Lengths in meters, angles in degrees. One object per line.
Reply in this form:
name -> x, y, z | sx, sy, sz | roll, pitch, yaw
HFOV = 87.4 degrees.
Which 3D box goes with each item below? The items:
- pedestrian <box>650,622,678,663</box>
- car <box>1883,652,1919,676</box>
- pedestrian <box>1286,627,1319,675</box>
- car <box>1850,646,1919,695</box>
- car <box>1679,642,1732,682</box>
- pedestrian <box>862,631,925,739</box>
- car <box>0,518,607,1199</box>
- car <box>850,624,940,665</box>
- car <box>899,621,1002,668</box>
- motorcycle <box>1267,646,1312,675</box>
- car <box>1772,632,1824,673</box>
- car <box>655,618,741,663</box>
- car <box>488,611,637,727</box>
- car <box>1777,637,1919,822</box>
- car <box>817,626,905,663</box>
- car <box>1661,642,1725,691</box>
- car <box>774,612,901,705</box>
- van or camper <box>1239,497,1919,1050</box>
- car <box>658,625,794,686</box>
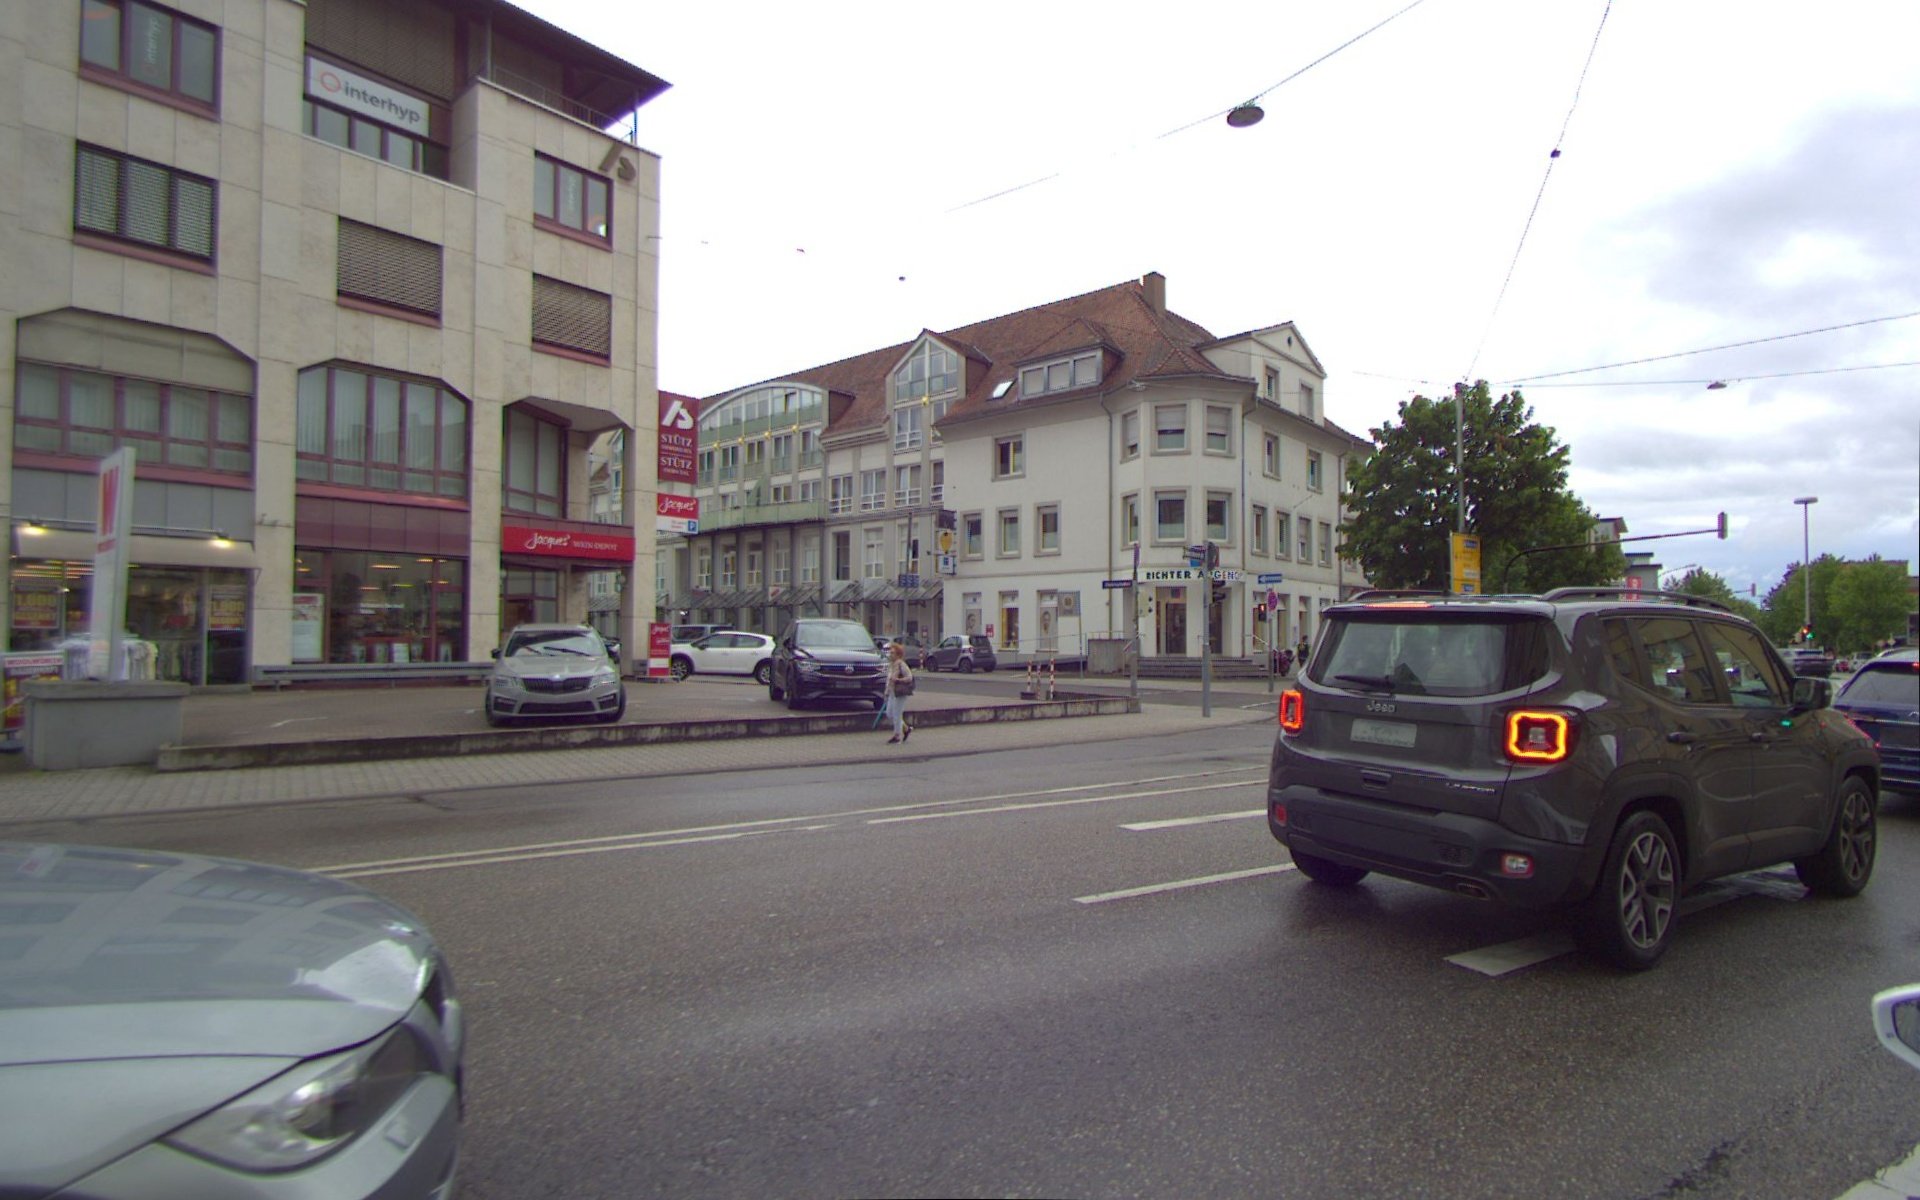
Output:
pedestrian -> -13.628, 1.954, 46.239 | 1.168, 1.852, 1.062 | 1, -2, -20
car -> 88.764, 6.005, 93.302 | 3.924, 2.040, 1.998 | 3, 0, 25
pedestrian -> 12.703, 1.887, 37.250 | 0.949, 1.731, 0.932 | -1, -2, 35
car -> 37.303, 2.780, 40.363 | 1.968, 1.839, 3.985 | 0, -2, 37
car -> 32.428, 2.657, 43.644 | 1.742, 1.656, 3.610 | 0, -2, 39
pedestrian -> -1.014, 1.272, 15.245 | 0.751, 1.549, 0.506 | 2, -1, 40
car -> -2.893, 0.625, 1.312 | 4.322, 1.483, 1.789 | 1, -1, -32
car -> -2.884, 1.993, 45.229 | 1.968, 1.752, 3.986 | -1, -2, 37
car -> -0.401, 1.825, 41.802 | 3.939, 1.839, 1.991 | -1, -2, 39
motorcycle -> 13.831, 2.518, 42.077 | 0.712, 1.194, 2.573 | -1, -2, 45
car -> 43.891, 2.735, 52.676 | 1.969, 2.040, 3.983 | -1, -3, 39
car -> -12.340, 1.878, 47.241 | 3.939, 2.040, 1.991 | -1, -2, 39
car -> -6.361, 0.967, 15.789 | 1.861, 1.546, 4.432 | 2, -1, -25
car -> 9.449, 1.116, 9.171 | 4.634, 1.424, 1.792 | 3, -2, -33
car -> -4.578, 2.069, 46.824 | 1.845, 1.611, 3.985 | -1, -2, 37
car -> 28.701, 2.552, 39.274 | 1.822, 1.706, 3.983 | 2, -1, 38
car -> -2.429, 1.067, 18.936 | 1.920, 1.526, 4.422 | 1, -2, -13
van or camper -> 3.741, 0.757, 5.875 | 4.098, 2.174, 1.844 | 2, -2, -33
car -> -6.857, 1.623, 29.488 | 3.698, 1.519, 1.578 | 4, -3, -15
